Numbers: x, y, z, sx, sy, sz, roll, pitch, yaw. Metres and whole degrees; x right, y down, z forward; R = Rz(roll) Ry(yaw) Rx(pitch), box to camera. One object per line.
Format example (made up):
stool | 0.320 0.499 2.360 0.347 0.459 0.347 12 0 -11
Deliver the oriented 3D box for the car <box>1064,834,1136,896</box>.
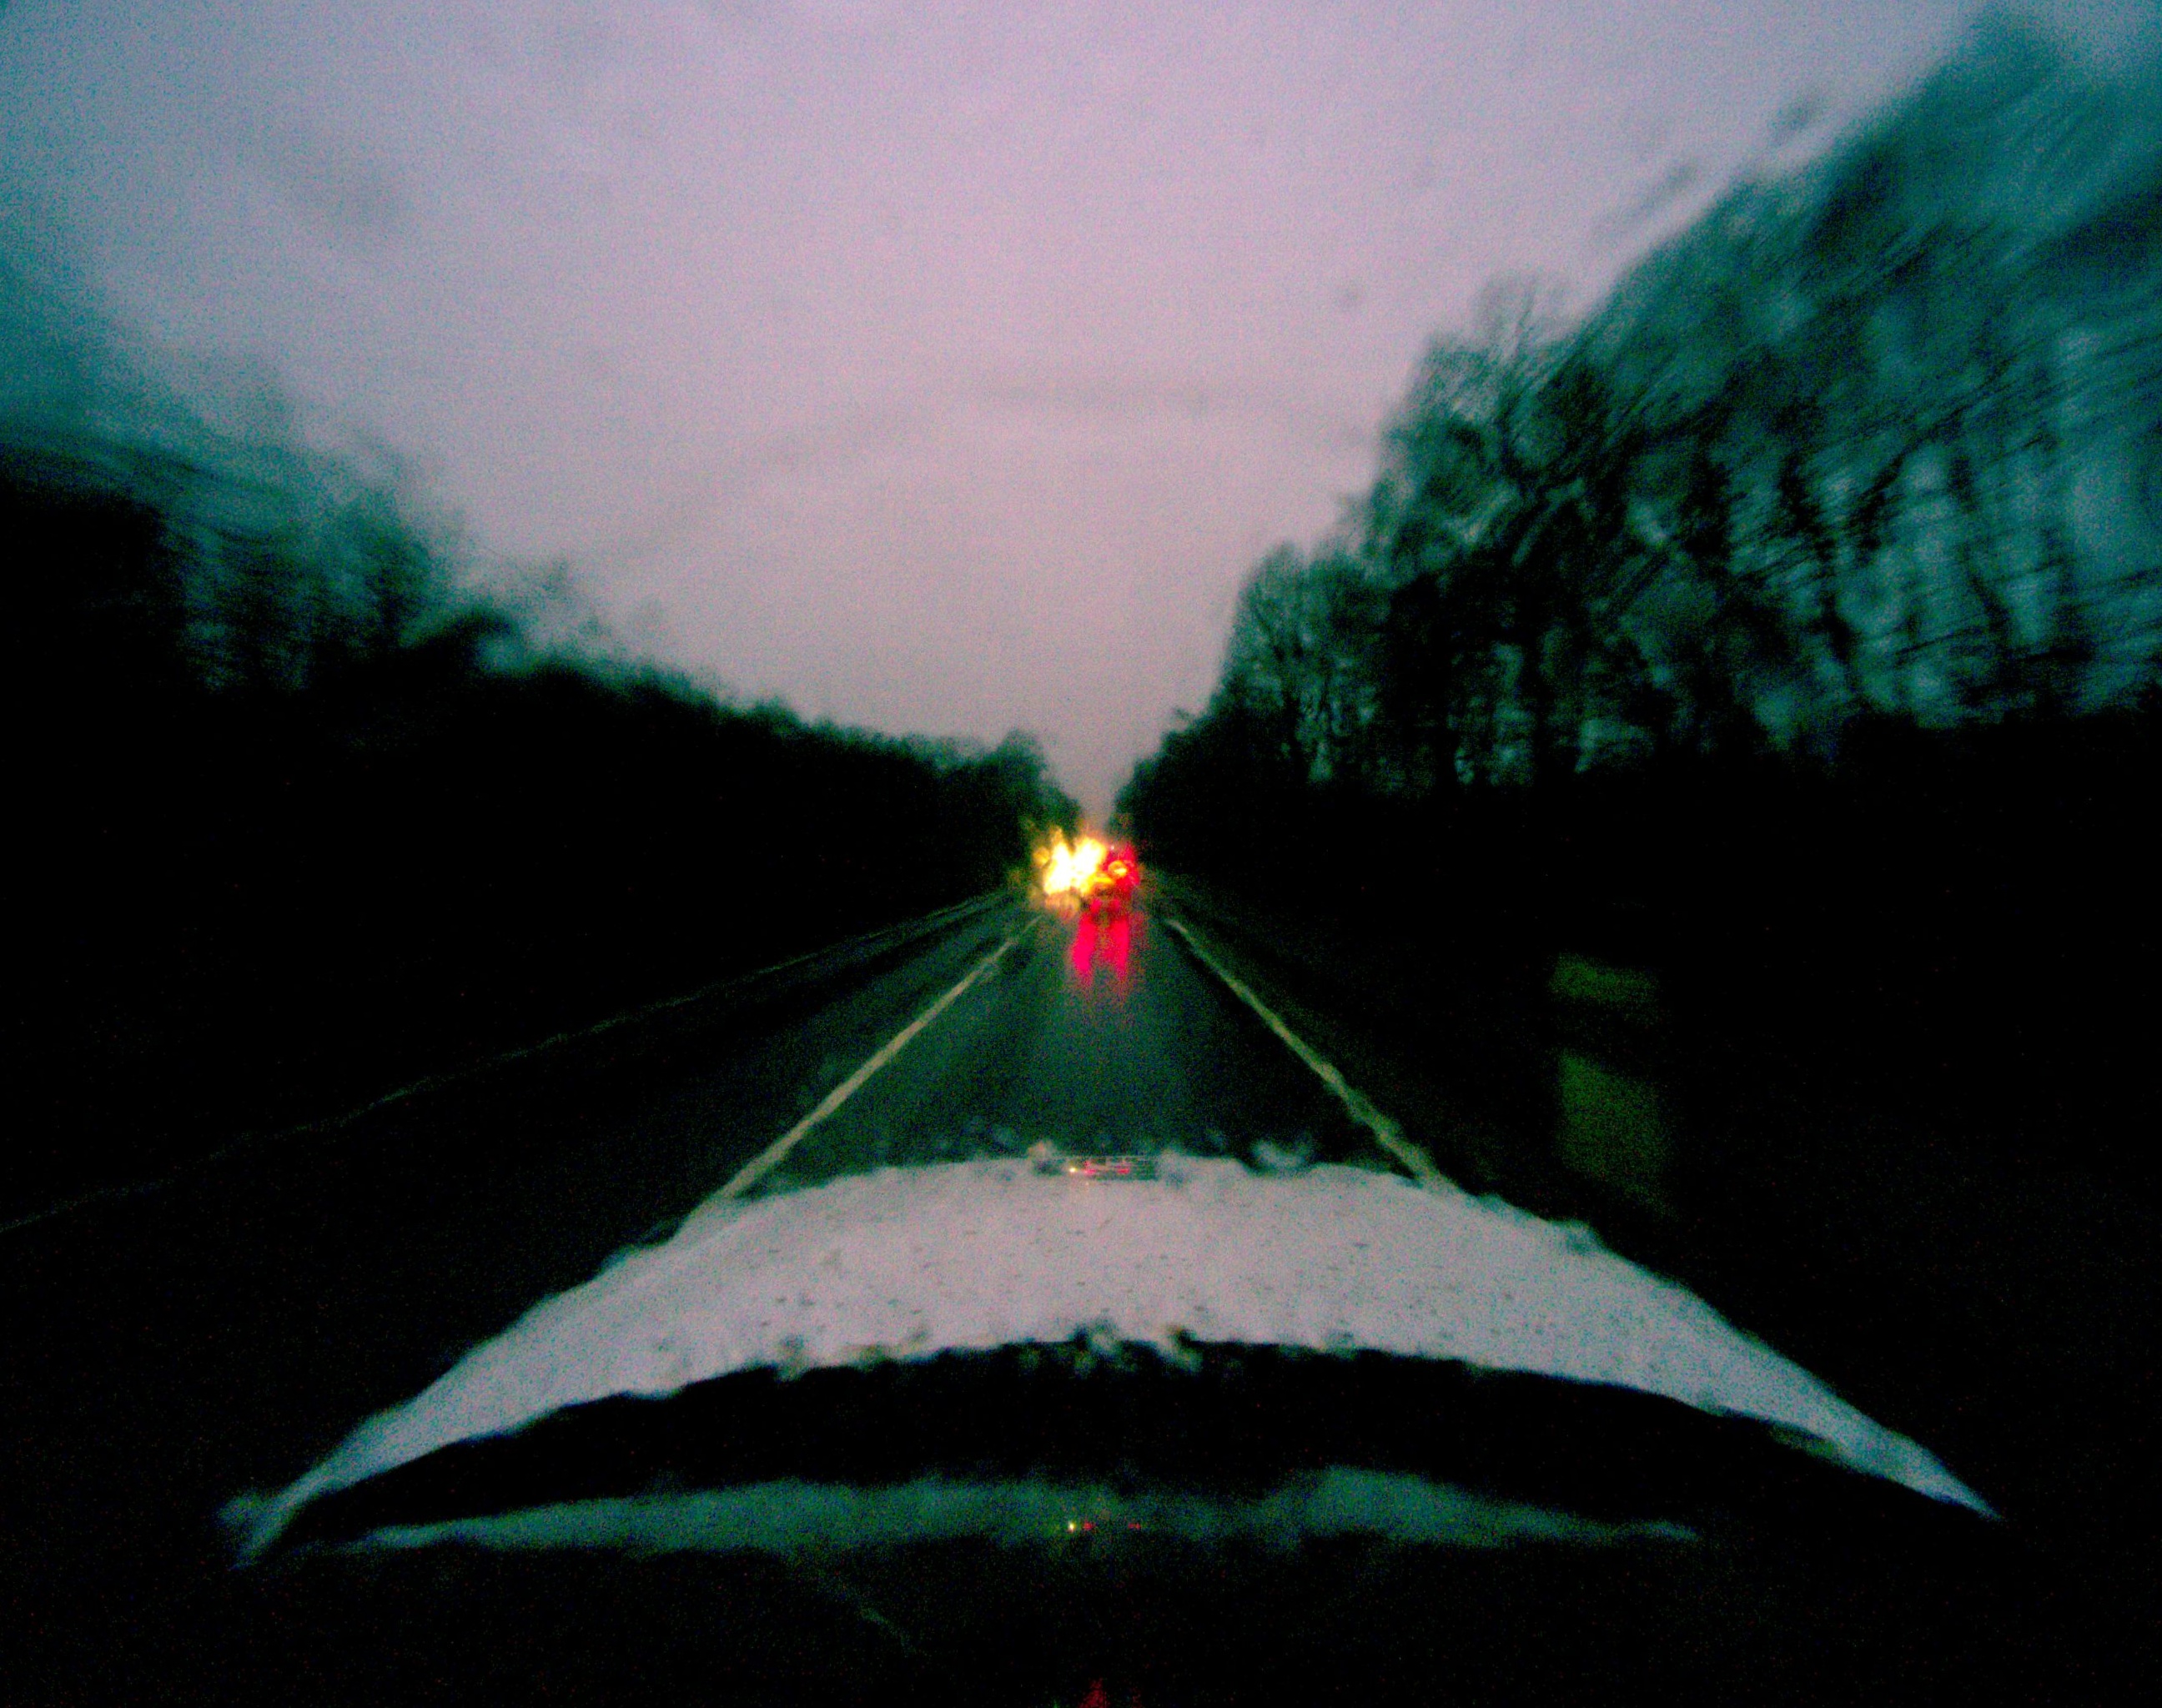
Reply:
car | 0.635 0.324 27.304 2.190 1.877 4.828 0 0 1

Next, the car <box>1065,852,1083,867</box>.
car | -0.736 0.567 87.631 1.743 1.552 3.993 -1 0 0
